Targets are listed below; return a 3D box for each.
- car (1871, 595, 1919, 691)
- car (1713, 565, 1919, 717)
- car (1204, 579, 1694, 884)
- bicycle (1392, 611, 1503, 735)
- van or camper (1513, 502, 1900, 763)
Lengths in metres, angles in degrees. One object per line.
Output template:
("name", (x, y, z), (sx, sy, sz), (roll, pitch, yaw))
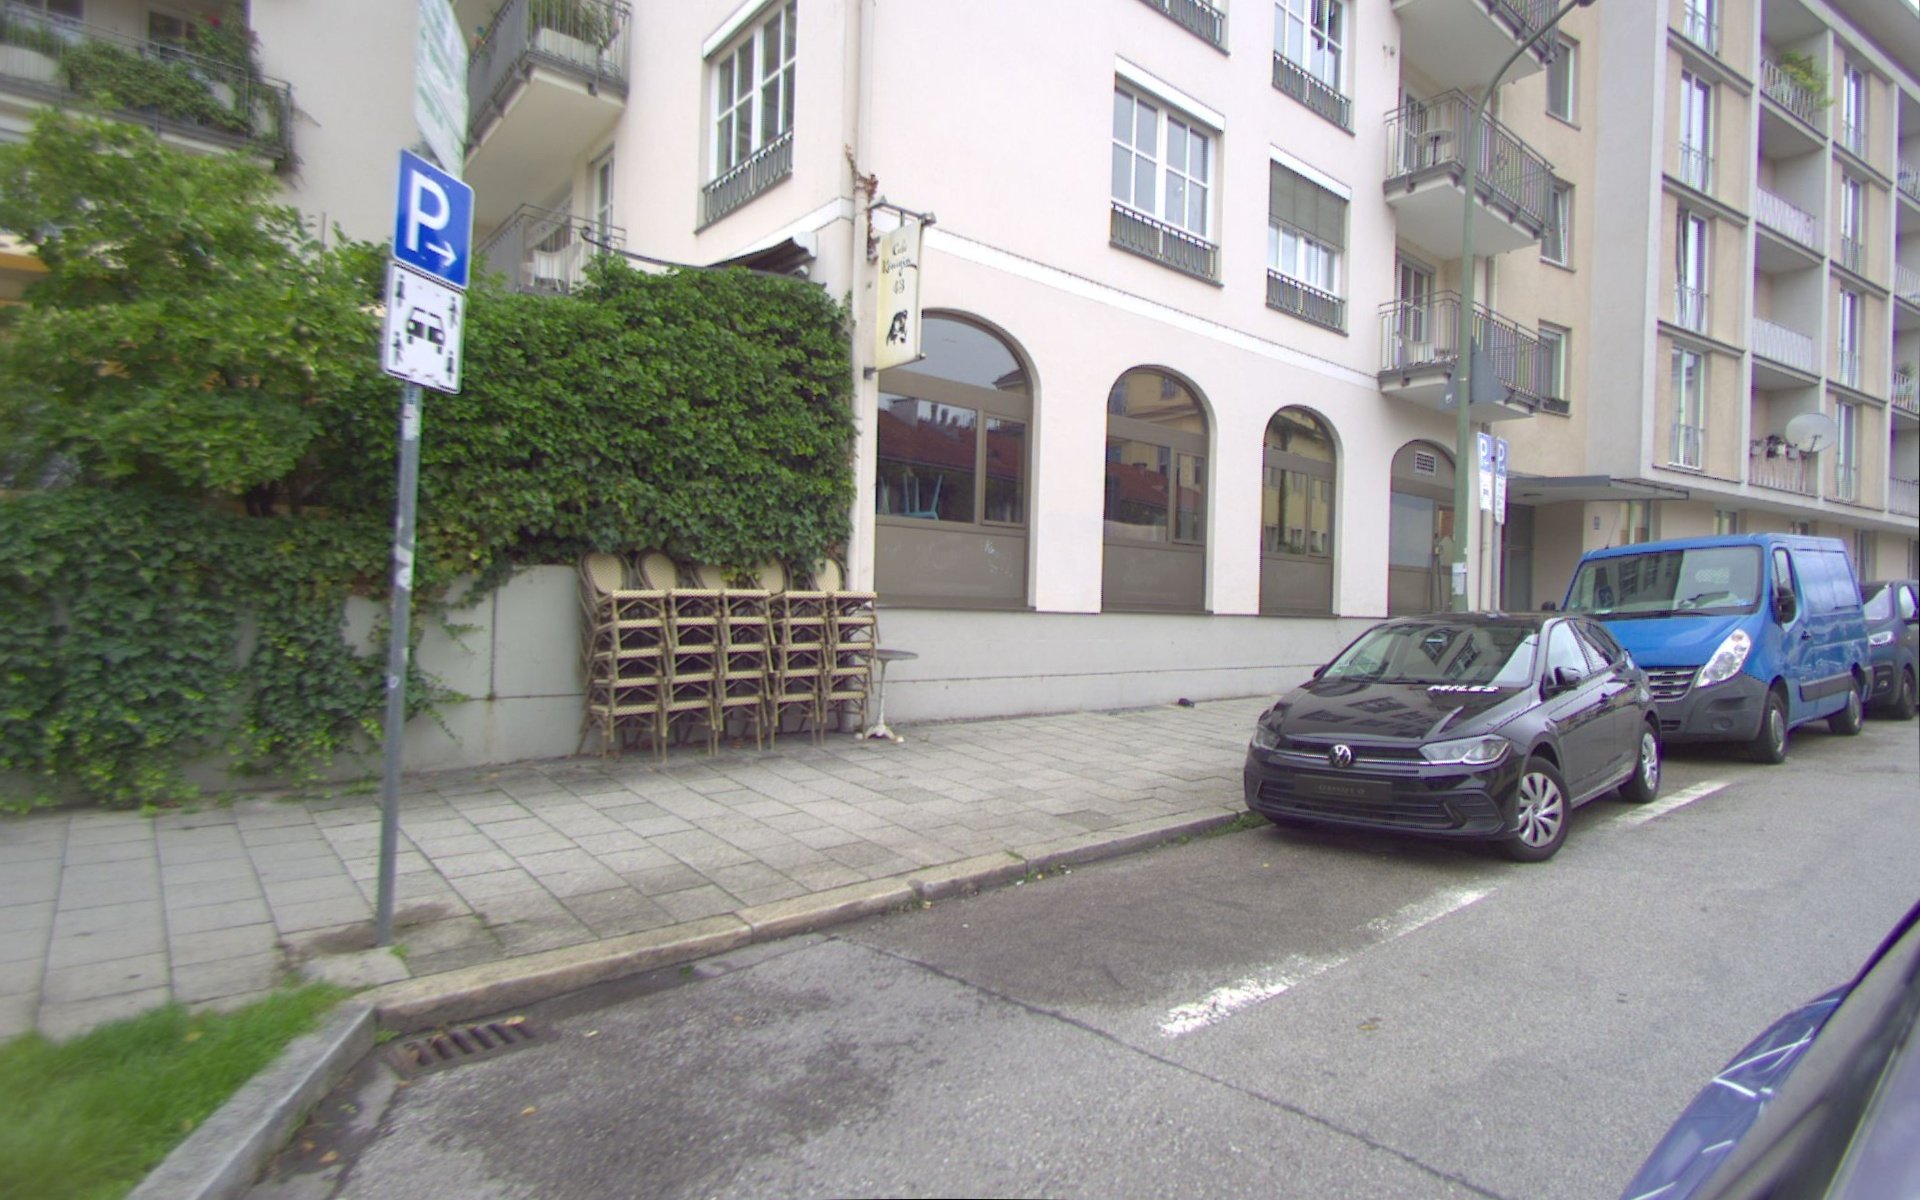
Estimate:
("car", (17.616, 0.745, 17.699), (4.194, 1.557, 1.744), (1, 1, -37))
("car", (12.906, 0.501, 14.500), (4.842, 1.839, 1.971), (1, 1, -36))
("car", (3.573, 0.721, 7.085), (3.890, 1.538, 1.705), (1, -3, -42))
("bicycle", (5.224, 0.731, 10.797), (0.664, 1.203, 1.565), (2, 1, 41))
("van or camper", (8.443, 0.303, 11.234), (5.337, 2.259, 2.066), (1, 0, -38))
